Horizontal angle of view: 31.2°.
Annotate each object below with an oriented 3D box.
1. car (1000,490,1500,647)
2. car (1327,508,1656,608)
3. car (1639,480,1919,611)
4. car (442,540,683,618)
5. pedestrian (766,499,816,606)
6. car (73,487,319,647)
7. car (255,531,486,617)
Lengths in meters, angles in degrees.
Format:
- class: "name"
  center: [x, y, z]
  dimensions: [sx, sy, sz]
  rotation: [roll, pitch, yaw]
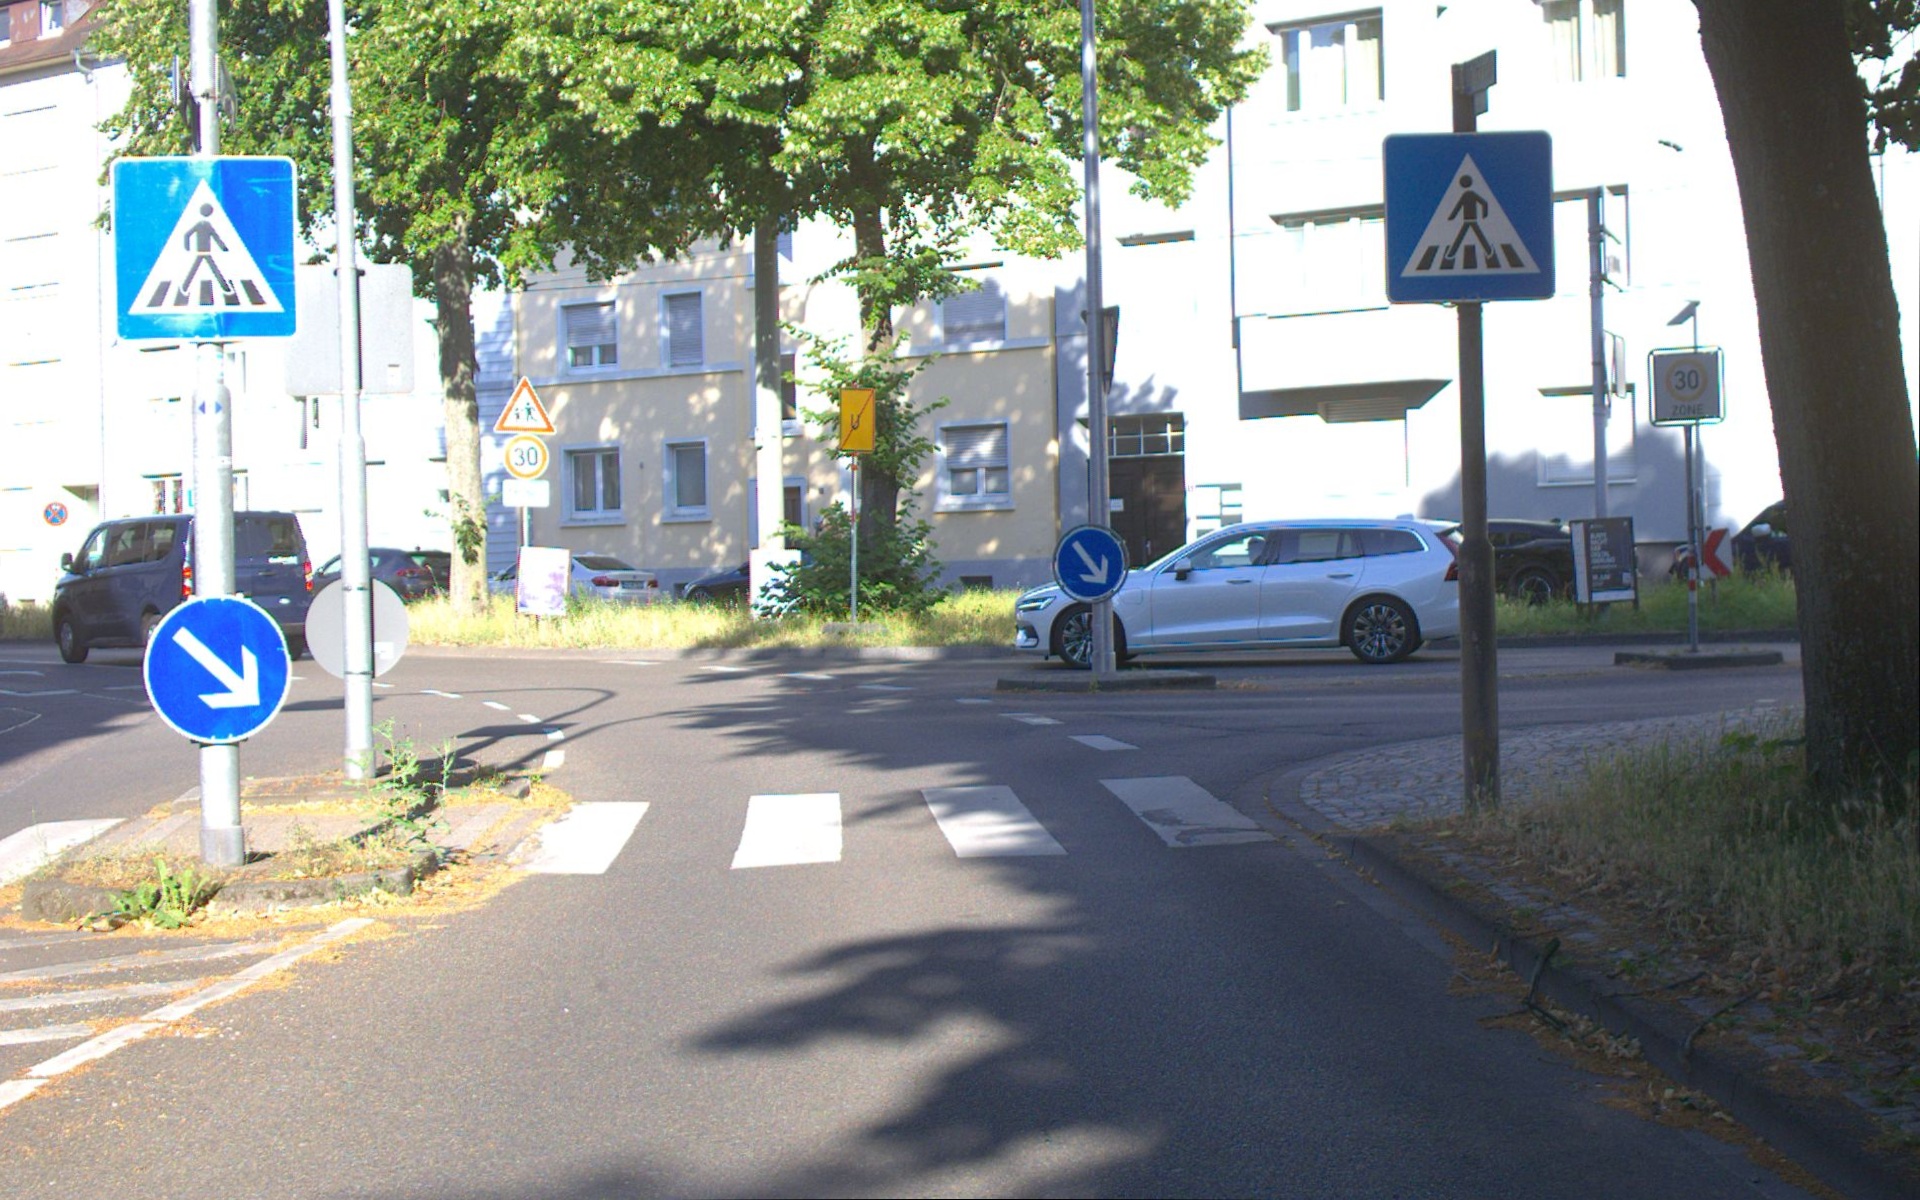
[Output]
- class: "car"
  center: [2.925, -0.322, 34.340]
  dimensions: [4.759, 1.458, 1.854]
  rotation: [-1, 2, 12]
- class: "car"
  center: [7.883, -0.627, 51.193]
  dimensions: [4.442, 1.381, 1.995]
  rotation: [0, 2, 40]
- class: "car"
  center: [11.828, -0.769, 47.879]
  dimensions: [4.205, 1.743, 1.995]
  rotation: [0, 2, 40]
- class: "car"
  center: [-7.529, -0.402, 64.898]
  dimensions: [4.442, 1.381, 1.995]
  rotation: [0, 2, 40]
- class: "pedestrian"
  center: [-3.207, -0.902, 65.217]
  dimensions: [0.649, 2.007, 0.612]
  rotation: [-1, 1, 41]
- class: "car"
  center: [-10.085, -0.442, 45.206]
  dimensions: [1.993, 2.007, 4.000]
  rotation: [-1, 1, -31]
- class: "car"
  center: [-11.801, -0.508, 68.669]
  dimensions: [4.637, 1.566, 1.995]
  rotation: [-1, 1, 40]
